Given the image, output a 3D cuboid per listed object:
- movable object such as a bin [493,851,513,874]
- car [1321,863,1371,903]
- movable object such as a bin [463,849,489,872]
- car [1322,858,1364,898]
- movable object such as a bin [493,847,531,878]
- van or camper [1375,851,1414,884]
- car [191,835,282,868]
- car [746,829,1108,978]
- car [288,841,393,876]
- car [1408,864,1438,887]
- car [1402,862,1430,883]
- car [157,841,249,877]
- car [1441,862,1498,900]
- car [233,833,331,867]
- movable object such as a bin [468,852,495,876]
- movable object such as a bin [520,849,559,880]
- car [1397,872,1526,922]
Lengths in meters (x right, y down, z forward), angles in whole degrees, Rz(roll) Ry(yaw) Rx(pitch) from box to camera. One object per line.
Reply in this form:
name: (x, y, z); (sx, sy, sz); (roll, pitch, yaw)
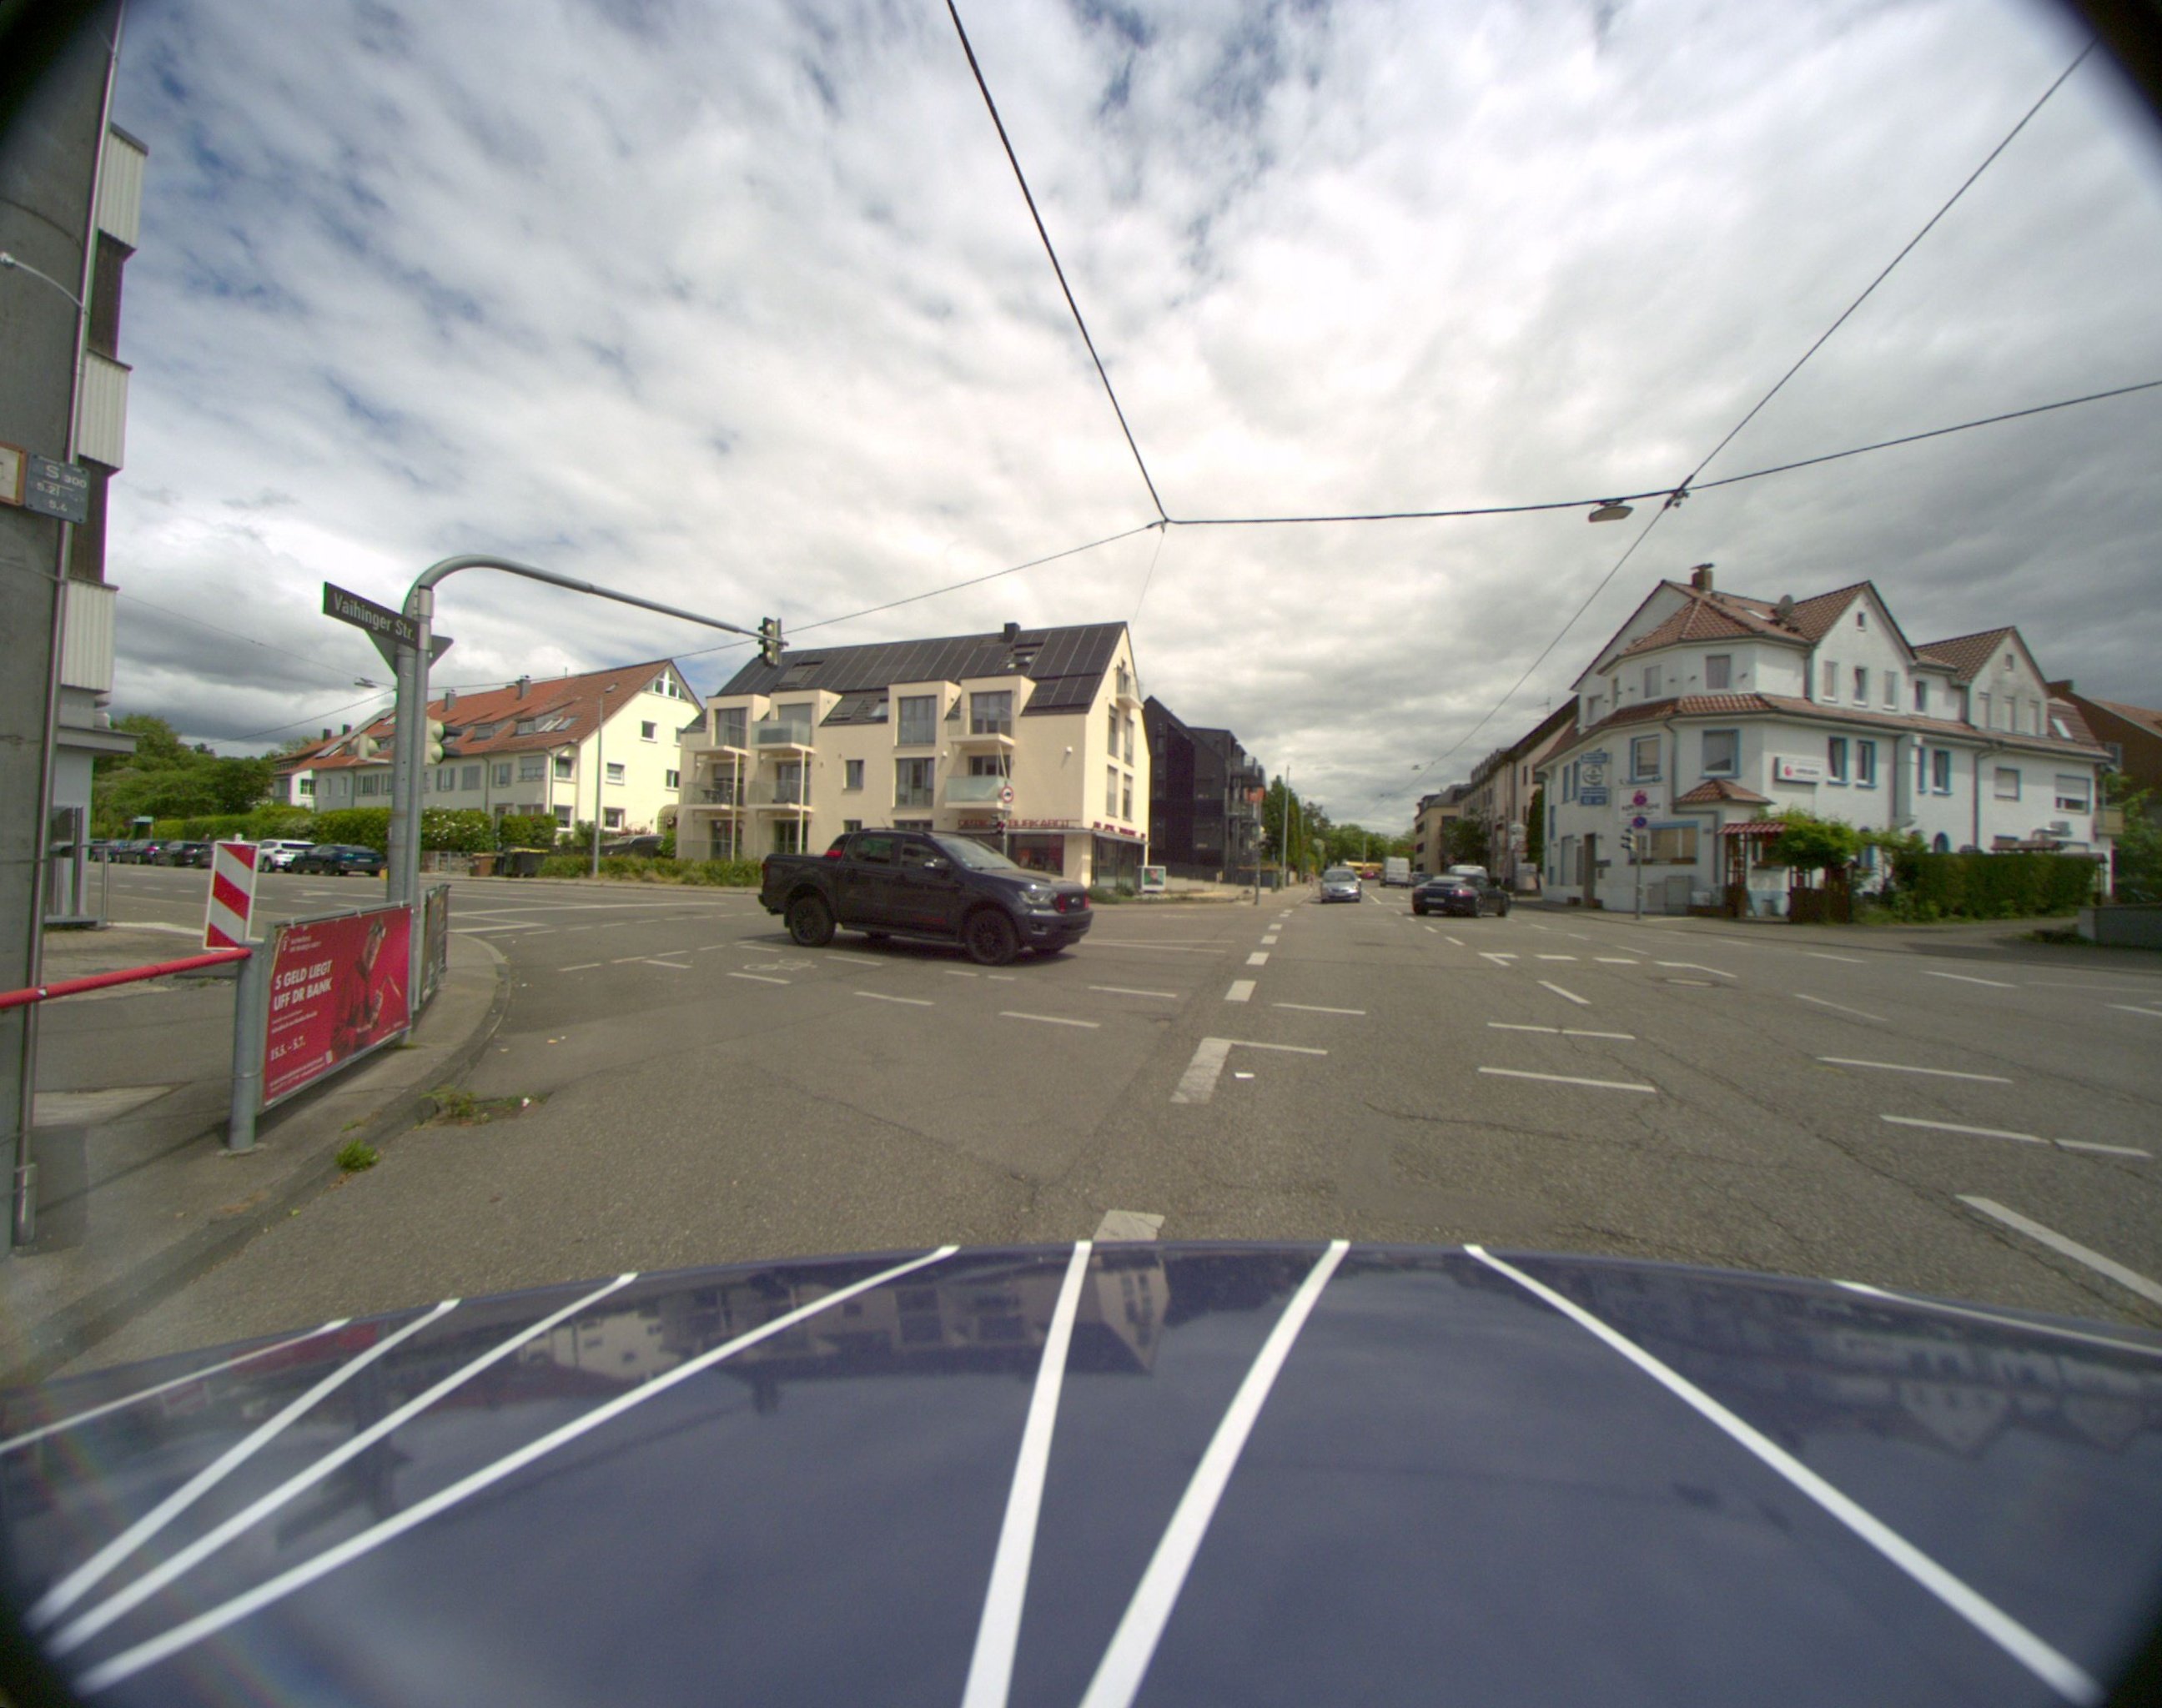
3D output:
movable object such as a bin: (-27.298, 0.392, 35.870); (0.523, 1.059, 0.655); (1, 0, -14)
car: (12.028, 1.279, 34.635); (1.996, 1.674, 4.006); (-2, -1, 18)
movable object such as a bin: (-28.367, 0.317, 35.637); (0.690, 1.059, 0.766); (2, 0, 32)
car: (13.969, 1.244, 40.631); (1.995, 2.002, 4.006); (1, 0, 18)
movable object such as a bin: (-26.511, 0.394, 35.409); (0.978, 1.438, 1.095); (2, 0, 25)
van or camper: (27.024, 1.144, 65.736); (2.110, 2.571, 5.652); (4, 0, 14)
car: (-44.419, -0.136, 39.964); (4.225, 1.623, 2.004); (1, 0, 25)
car: (-2.392, 0.598, 11.504); (5.207, 1.838, 1.892); (1, 0, 25)
car: (-34.472, 0.197, 35.366); (4.442, 1.492, 1.823); (1, 0, 22)
car: (32.337, 1.982, 71.859); (1.996, 2.002, 4.005); (2, 0, 16)
car: (33.834, 1.870, 76.842); (1.996, 2.002, 4.005); (2, 0, 17)
car: (-48.491, 0.276, 41.960); (4.225, 1.621, 2.006); (1, -8, 25)
car: (20.236, 1.369, 39.733); (1.818, 1.801, 4.425); (2, -1, 17)
car: (-40.165, -0.200, 38.190); (4.441, 1.623, 2.004); (1, 0, 25)
movable object such as a bin: (-27.796, 0.466, 35.242); (0.690, 1.059, 0.766); (2, 0, 32)
movable object such as a bin: (-24.849, 0.480, 34.877); (0.978, 1.354, 1.095); (2, 0, 25)
car: (11.516, 1.225, 22.897); (4.313, 1.275, 1.994); (1, 0, -42)
